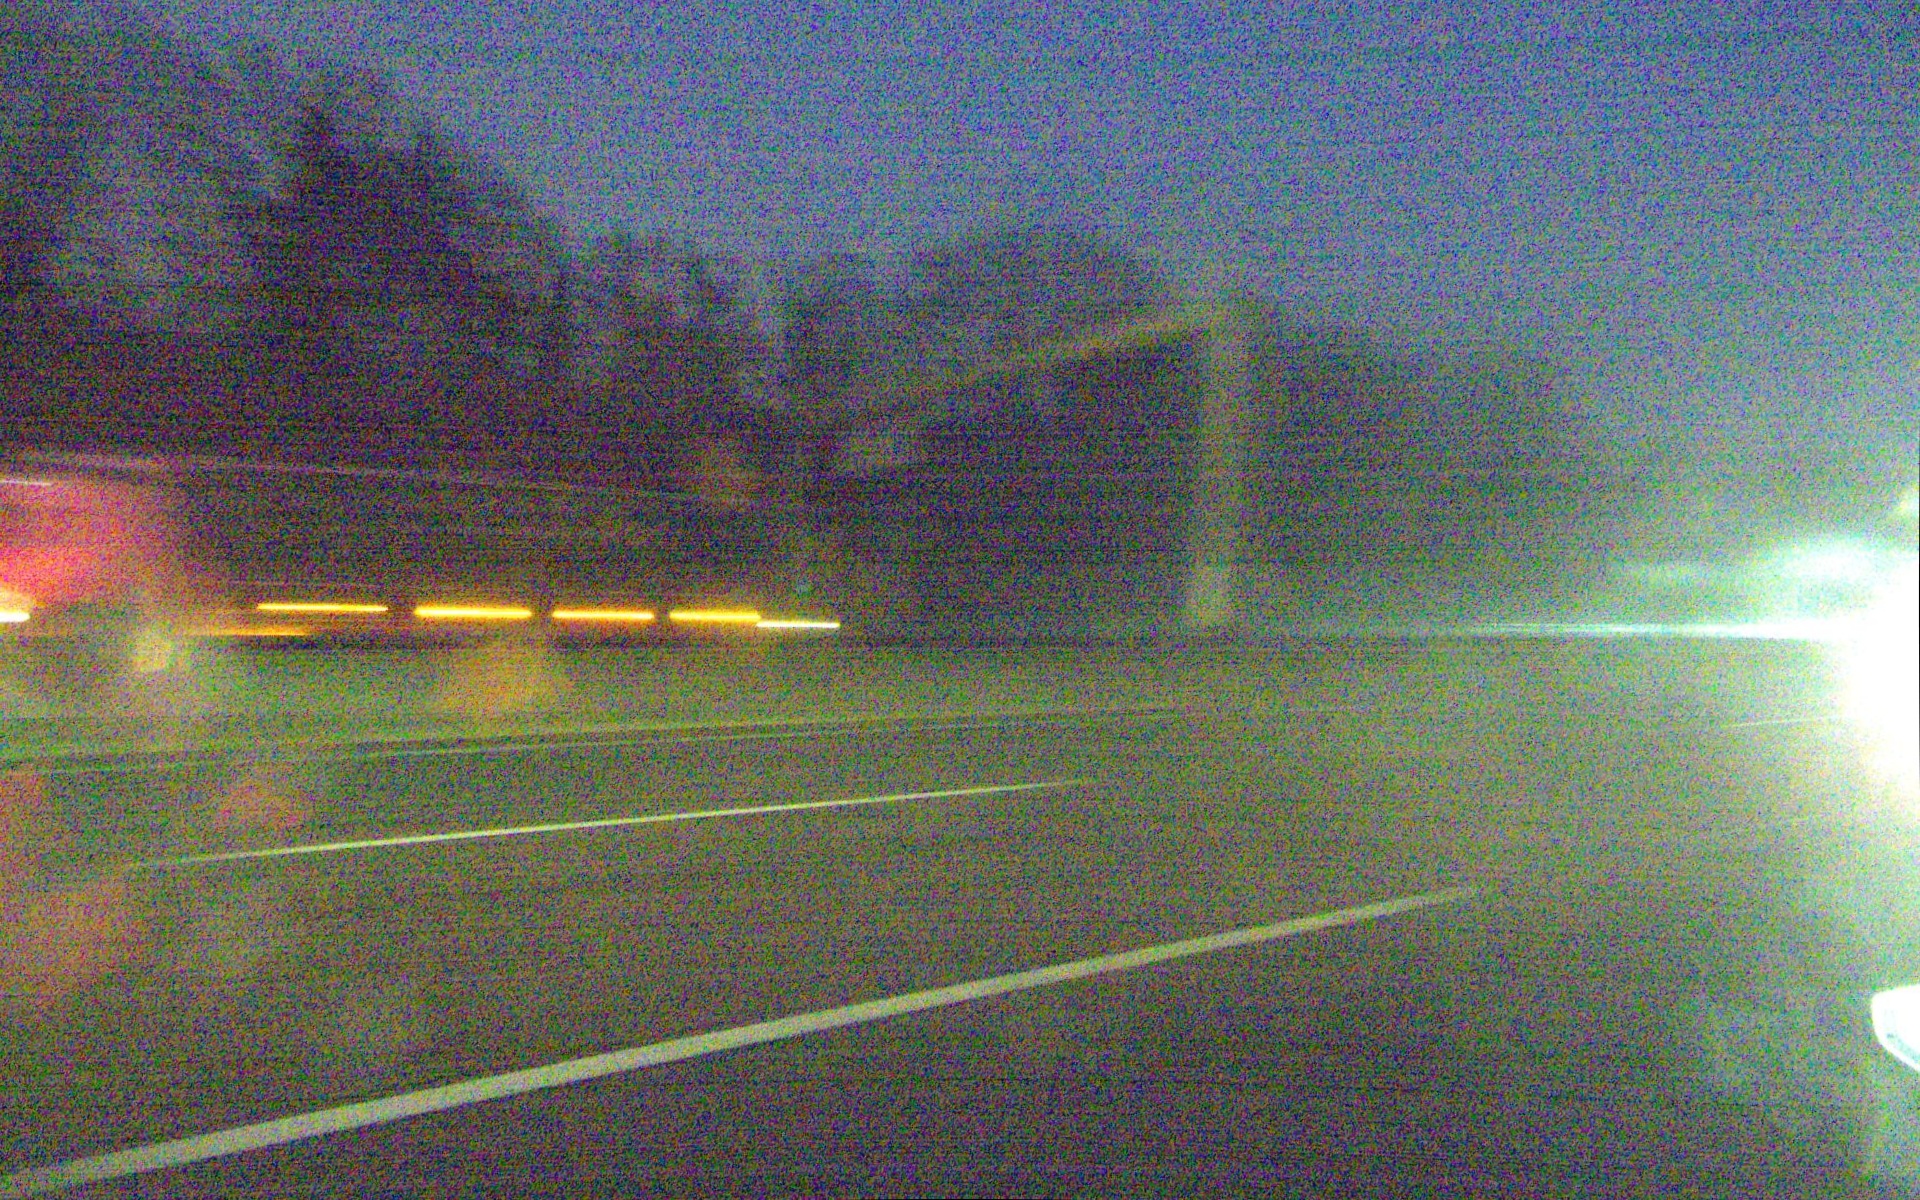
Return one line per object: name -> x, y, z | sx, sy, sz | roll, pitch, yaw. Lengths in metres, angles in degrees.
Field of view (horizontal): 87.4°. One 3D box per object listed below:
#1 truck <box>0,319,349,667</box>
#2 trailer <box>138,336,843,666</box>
truck -> -16.206, -1.981, 20.541 | 6.099, 6.211, 3.446 | 1, 4, -30
trailer -> -10.158, -1.828, 23.996 | 14.236, 6.211, 3.445 | 1, 4, -30
